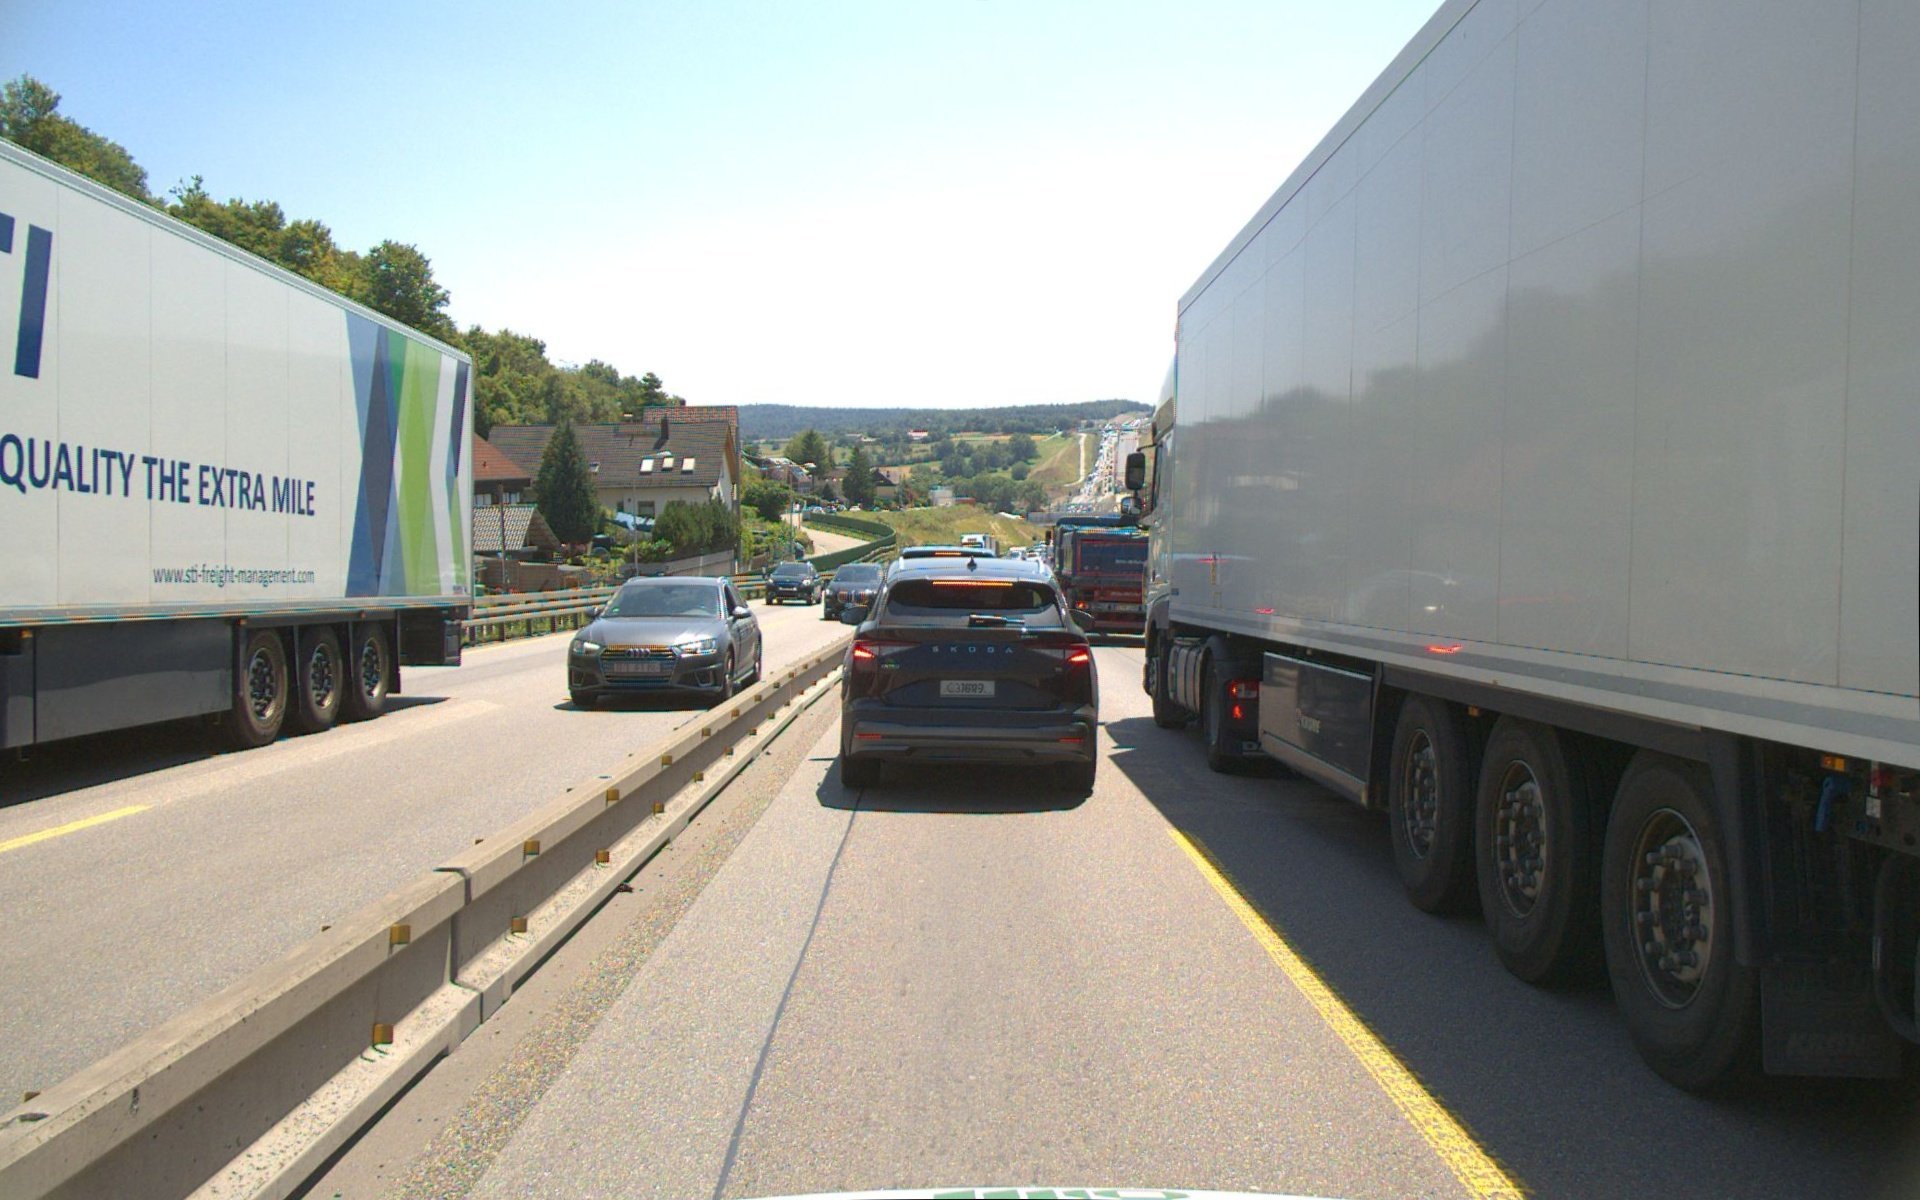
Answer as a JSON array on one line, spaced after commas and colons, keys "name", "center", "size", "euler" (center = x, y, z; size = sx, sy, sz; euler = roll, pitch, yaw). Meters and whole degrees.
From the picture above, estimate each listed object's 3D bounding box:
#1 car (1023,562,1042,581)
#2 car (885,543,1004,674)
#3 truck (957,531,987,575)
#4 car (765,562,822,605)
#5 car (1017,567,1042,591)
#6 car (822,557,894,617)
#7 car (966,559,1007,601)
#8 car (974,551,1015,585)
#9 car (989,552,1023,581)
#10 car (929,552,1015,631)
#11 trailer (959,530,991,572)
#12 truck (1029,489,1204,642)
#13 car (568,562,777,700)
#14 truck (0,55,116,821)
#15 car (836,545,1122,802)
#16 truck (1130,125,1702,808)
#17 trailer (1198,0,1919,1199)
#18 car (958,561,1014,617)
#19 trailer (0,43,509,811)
[{"name": "car", "center": [7.093, -2.738, 160.767], "size": [1.665, 1.758, 3.838], "euler": [1, 0, 5]}, {"name": "car", "center": [-0.318, 0.059, 26.588], "size": [1.673, 1.914, 3.998], "euler": [1, 2, -4]}, {"name": "truck", "center": [1.285, -4.742, 168.070], "size": [2.694, 4.358, 4.960], "euler": [1, 1, 3]}, {"name": "car", "center": [-5.994, -0.593, 59.876], "size": [1.671, 1.490, 3.680], "euler": [1, 0, -1]}, {"name": "car", "center": [5.267, -1.562, 125.432], "size": [1.665, 1.758, 3.838], "euler": [1, 0, 5]}, {"name": "car", "center": [-2.959, -0.381, 48.664], "size": [1.782, 1.614, 4.159], "euler": [3, 0, 0]}, {"name": "car", "center": [1.119, -0.887, 71.133], "size": [1.672, 1.650, 4.001], "euler": [2, 2, 0]}, {"name": "car", "center": [1.709, -1.561, 82.504], "size": [1.952, 1.612, 3.837], "euler": [1, 0, 1]}, {"name": "car", "center": [2.764, -2.016, 100.173], "size": [1.952, 1.612, 3.837], "euler": [1, 0, 1]}, {"name": "car", "center": [0.227, -0.244, 38.198], "size": [1.673, 1.650, 3.998], "euler": [1, 2, -4]}, {"name": "trailer", "center": [1.615, -5.139, 172.848], "size": [2.699, 4.140, 8.013], "euler": [2, 2, 4]}, {"name": "truck", "center": [3.648, -0.788, 42.111], "size": [3.130, 3.246, 12.808], "euler": [1, 0, 0]}, {"name": "car", "center": [-3.348, 0.321, 20.117], "size": [1.754, 1.478, 4.634], "euler": [0, 0, 0]}, {"name": "truck", "center": [-7.225, -0.948, 6.662], "size": [3.235, 4.438, 8.301], "euler": [1, 0, 0]}, {"name": "car", "center": [0.010, 0.463, 12.564], "size": [1.806, 1.614, 3.905], "euler": [1, 0, -4]}, {"name": "truck", "center": [3.210, -0.834, 14.203], "size": [2.462, 4.095, 8.236], "euler": [1, 0, -1]}, {"name": "trailer", "center": [3.252, -0.763, 7.484], "size": [2.480, 4.199, 11.546], "euler": [1, 0, -1]}, {"name": "car", "center": [0.796, -0.390, 52.989], "size": [1.672, 1.650, 4.001], "euler": [2, 2, 0]}, {"name": "trailer", "center": [-7.168, -1.046, 13.155], "size": [3.185, 4.455, 14.058], "euler": [1, 0, 0]}]
